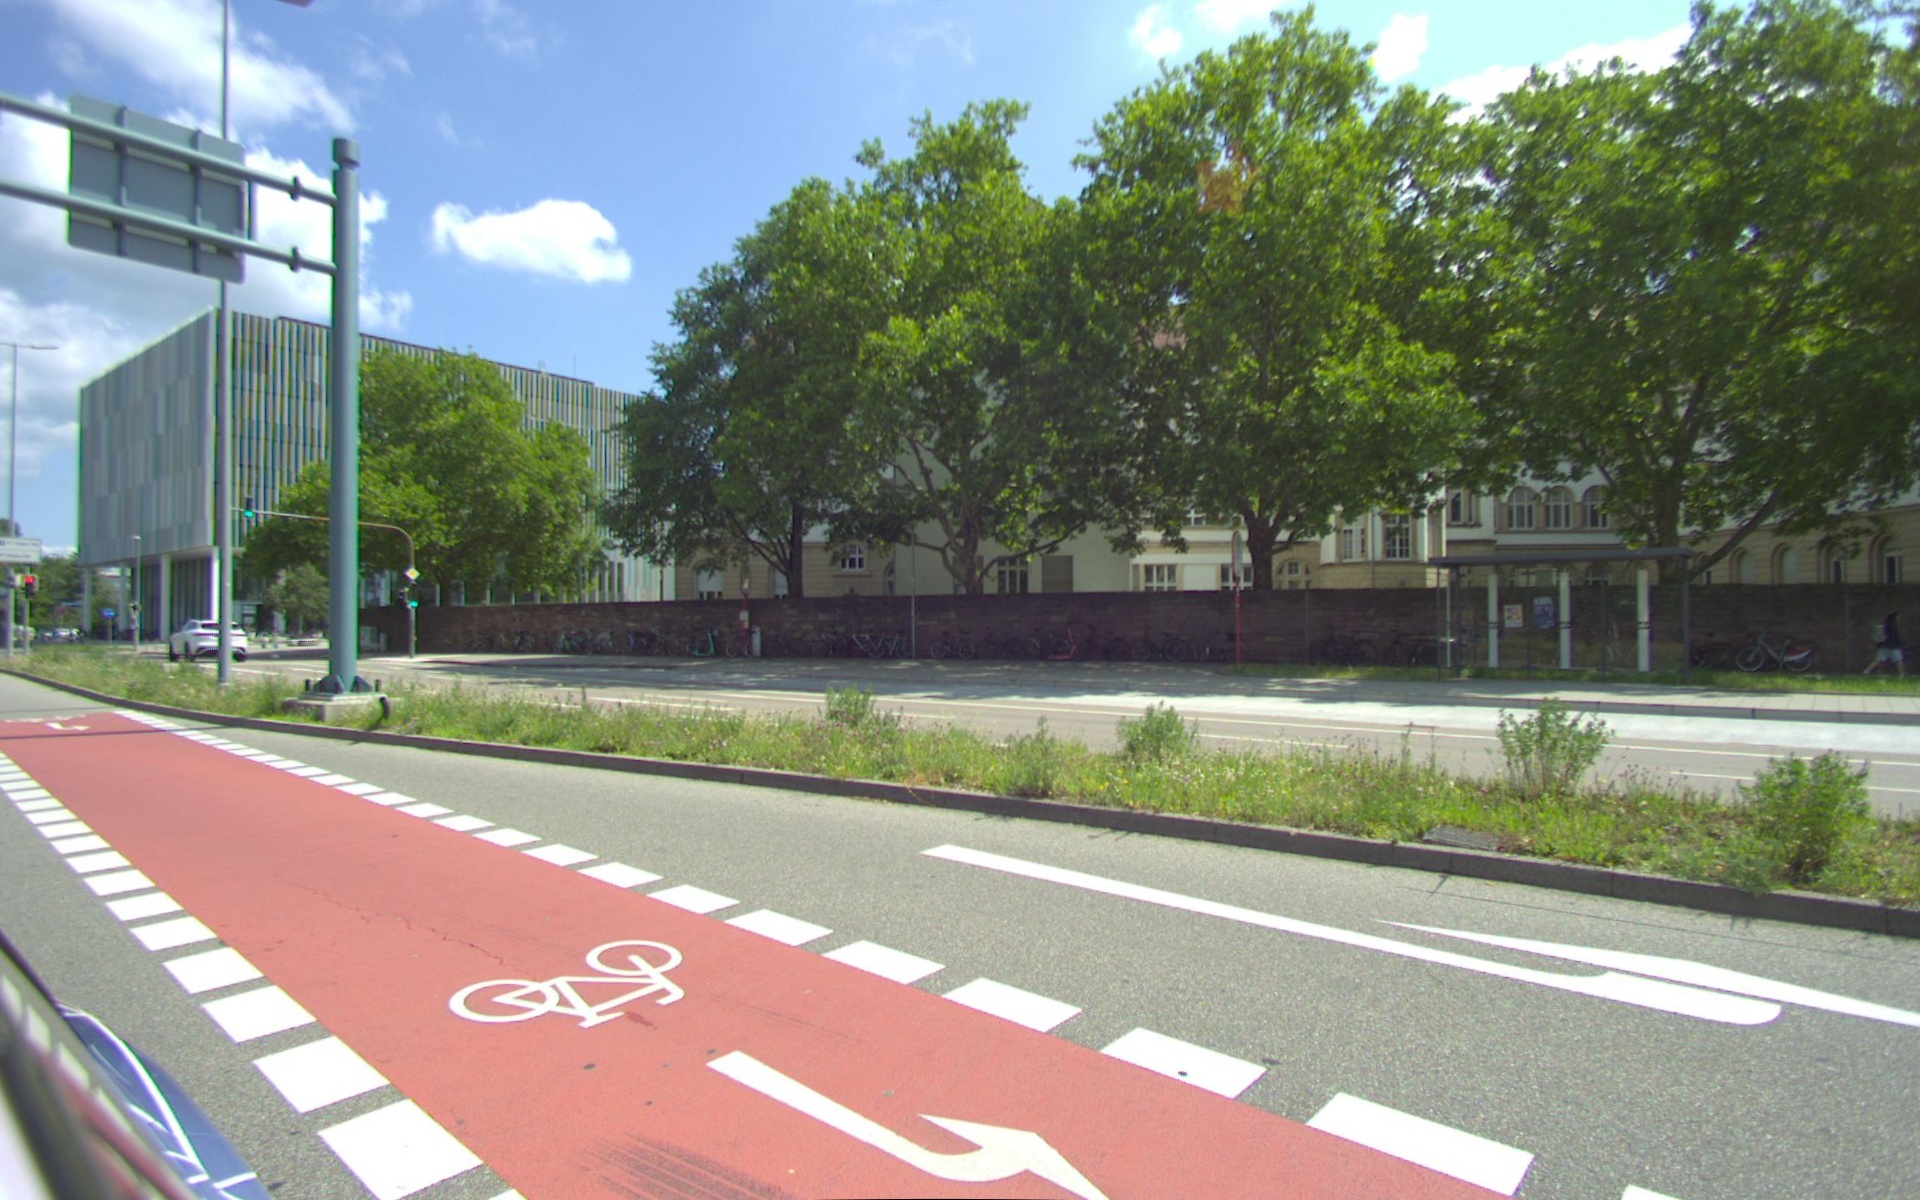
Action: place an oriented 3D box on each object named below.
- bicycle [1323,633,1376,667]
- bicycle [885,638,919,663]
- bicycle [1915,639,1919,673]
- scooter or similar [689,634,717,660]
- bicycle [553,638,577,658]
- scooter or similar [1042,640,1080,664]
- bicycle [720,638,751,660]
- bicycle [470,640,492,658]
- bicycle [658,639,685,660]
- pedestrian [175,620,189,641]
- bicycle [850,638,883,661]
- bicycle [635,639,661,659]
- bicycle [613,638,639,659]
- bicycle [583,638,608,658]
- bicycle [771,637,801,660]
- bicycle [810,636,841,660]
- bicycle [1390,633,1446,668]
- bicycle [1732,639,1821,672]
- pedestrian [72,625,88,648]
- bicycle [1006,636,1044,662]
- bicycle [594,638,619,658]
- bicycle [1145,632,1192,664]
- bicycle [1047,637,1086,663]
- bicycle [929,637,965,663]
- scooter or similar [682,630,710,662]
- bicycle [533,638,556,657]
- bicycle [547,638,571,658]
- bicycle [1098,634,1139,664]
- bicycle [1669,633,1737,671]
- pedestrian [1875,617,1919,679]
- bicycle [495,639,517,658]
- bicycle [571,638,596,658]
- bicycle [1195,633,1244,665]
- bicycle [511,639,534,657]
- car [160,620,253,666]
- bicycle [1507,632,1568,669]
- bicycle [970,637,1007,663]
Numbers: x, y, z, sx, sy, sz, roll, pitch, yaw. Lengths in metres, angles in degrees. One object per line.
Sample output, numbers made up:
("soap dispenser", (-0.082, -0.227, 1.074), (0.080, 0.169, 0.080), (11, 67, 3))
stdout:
("bicycle", (11.174, 1.428, 29.040), (1.384, 0.972, 0.263), (-1, -2, 18))
("bicycle", (-2.019, 1.752, 35.124), (1.231, 0.837, 0.262), (-1, -2, 30))
("bicycle", (24.436, 1.359, 24.610), (1.734, 0.823, 0.382), (-1, -2, 18))
("scooter or similar", (-10.148, 1.860, 39.927), (1.133, 1.028, 0.264), (-1, -2, 19))
("bicycle", (-17.410, 2.111, 44.568), (1.230, 0.837, 0.262), (-1, -2, 29))
("scooter or similar", (3.174, 1.630, 31.816), (1.133, 0.734, 0.264), (-1, -2, 18))
("bicycle", (-8.651, 1.886, 38.957), (1.226, 0.837, 0.263), (-1, -2, 19))
("bicycle", (-22.695, 2.303, 47.965), (1.231, 0.837, 0.262), (-2, -2, 30))
("bicycle", (-11.572, 1.967, 40.588), (1.231, 0.837, 0.262), (-2, -2, 30))
("pedestrian", (-77.210, 3.022, 100.423), (0.994, 2.029, 0.853), (-2, -2, 40))
("bicycle", (-3.326, 1.754, 35.920), (1.231, 0.837, 0.262), (-1, -2, 30))
("bicycle", (-12.814, 2.009, 41.510), (1.231, 0.837, 0.262), (-2, -2, 30))
("bicycle", (-13.920, 2.026, 42.171), (1.231, 0.837, 0.262), (-2, -2, 30))
("bicycle", (-15.335, 2.004, 42.564), (1.230, 0.837, 0.262), (-1, -2, 29))
("bicycle", (-6.474, 1.810, 37.574), (1.231, 0.837, 0.262), (-1, -2, 30))
("bicycle", (-4.894, 1.742, 36.865), (1.231, 0.837, 0.262), (-1, -2, 30))
("bicycle", (12.860, 1.416, 28.427), (1.384, 0.972, 0.263), (-1, -2, 18))
("bicycle", (20.740, 1.407, 25.729), (1.734, 0.823, 0.327), (-1, -2, 18))
("pedestrian", (-77.183, 3.187, 88.762), (0.994, 2.029, 0.853), (-2, -2, 39))
("bicycle", (2.128, 1.611, 33.077), (1.230, 0.837, 0.262), (-1, -2, 28))
("bicycle", (-15.001, 2.017, 42.896), (1.231, 0.837, 0.262), (-2, -2, 30))
("bicycle", (6.396, 1.477, 31.044), (1.385, 0.972, 0.263), (-1, -2, 20))
("bicycle", (3.404, 1.595, 32.465), (1.230, 0.837, 0.262), (-1, -2, 28))
("bicycle", (-0.436, 1.690, 34.285), (1.230, 0.837, 0.262), (-1, -2, 28))
("scooter or similar", (-10.169, 1.761, 38.955), (1.230, 1.199, 0.262), (-1, -2, 29))
("bicycle", (-18.599, 2.129, 45.319), (1.230, 0.837, 0.262), (-1, -2, 29))
("bicycle", (-17.452, 2.097, 44.037), (1.230, 0.837, 0.262), (-1, -2, 29))
("bicycle", (4.945, 1.523, 31.613), (1.230, 0.915, 0.262), (-1, -2, 28))
("bicycle", (19.228, 1.347, 26.203), (1.384, 0.972, 0.263), (-1, -2, 18))
("pedestrian", (21.717, 1.103, 23.398), (0.726, 1.405, 0.712), (-2, -2, 36))
("bicycle", (-21.057, 2.245, 46.974), (1.231, 0.837, 0.262), (-2, -2, 30))
("bicycle", (-16.271, 2.083, 43.733), (1.231, 0.837, 0.262), (-2, -2, 30))
("bicycle", (7.802, 1.471, 30.424), (1.389, 0.972, 0.262), (-1, -2, 28))
("bicycle", (-19.976, 2.187, 46.205), (1.230, 0.837, 0.262), (-1, -2, 29))
("car", (-30.012, 1.696, 40.272), (4.508, 1.724, 1.973), (-2, -2, 40))
("bicycle", (15.626, 1.370, 27.396), (1.384, 0.972, 0.263), (-1, -2, 18))
("bicycle", (0.956, 1.659, 33.726), (1.230, 0.837, 0.262), (-1, -2, 28))
